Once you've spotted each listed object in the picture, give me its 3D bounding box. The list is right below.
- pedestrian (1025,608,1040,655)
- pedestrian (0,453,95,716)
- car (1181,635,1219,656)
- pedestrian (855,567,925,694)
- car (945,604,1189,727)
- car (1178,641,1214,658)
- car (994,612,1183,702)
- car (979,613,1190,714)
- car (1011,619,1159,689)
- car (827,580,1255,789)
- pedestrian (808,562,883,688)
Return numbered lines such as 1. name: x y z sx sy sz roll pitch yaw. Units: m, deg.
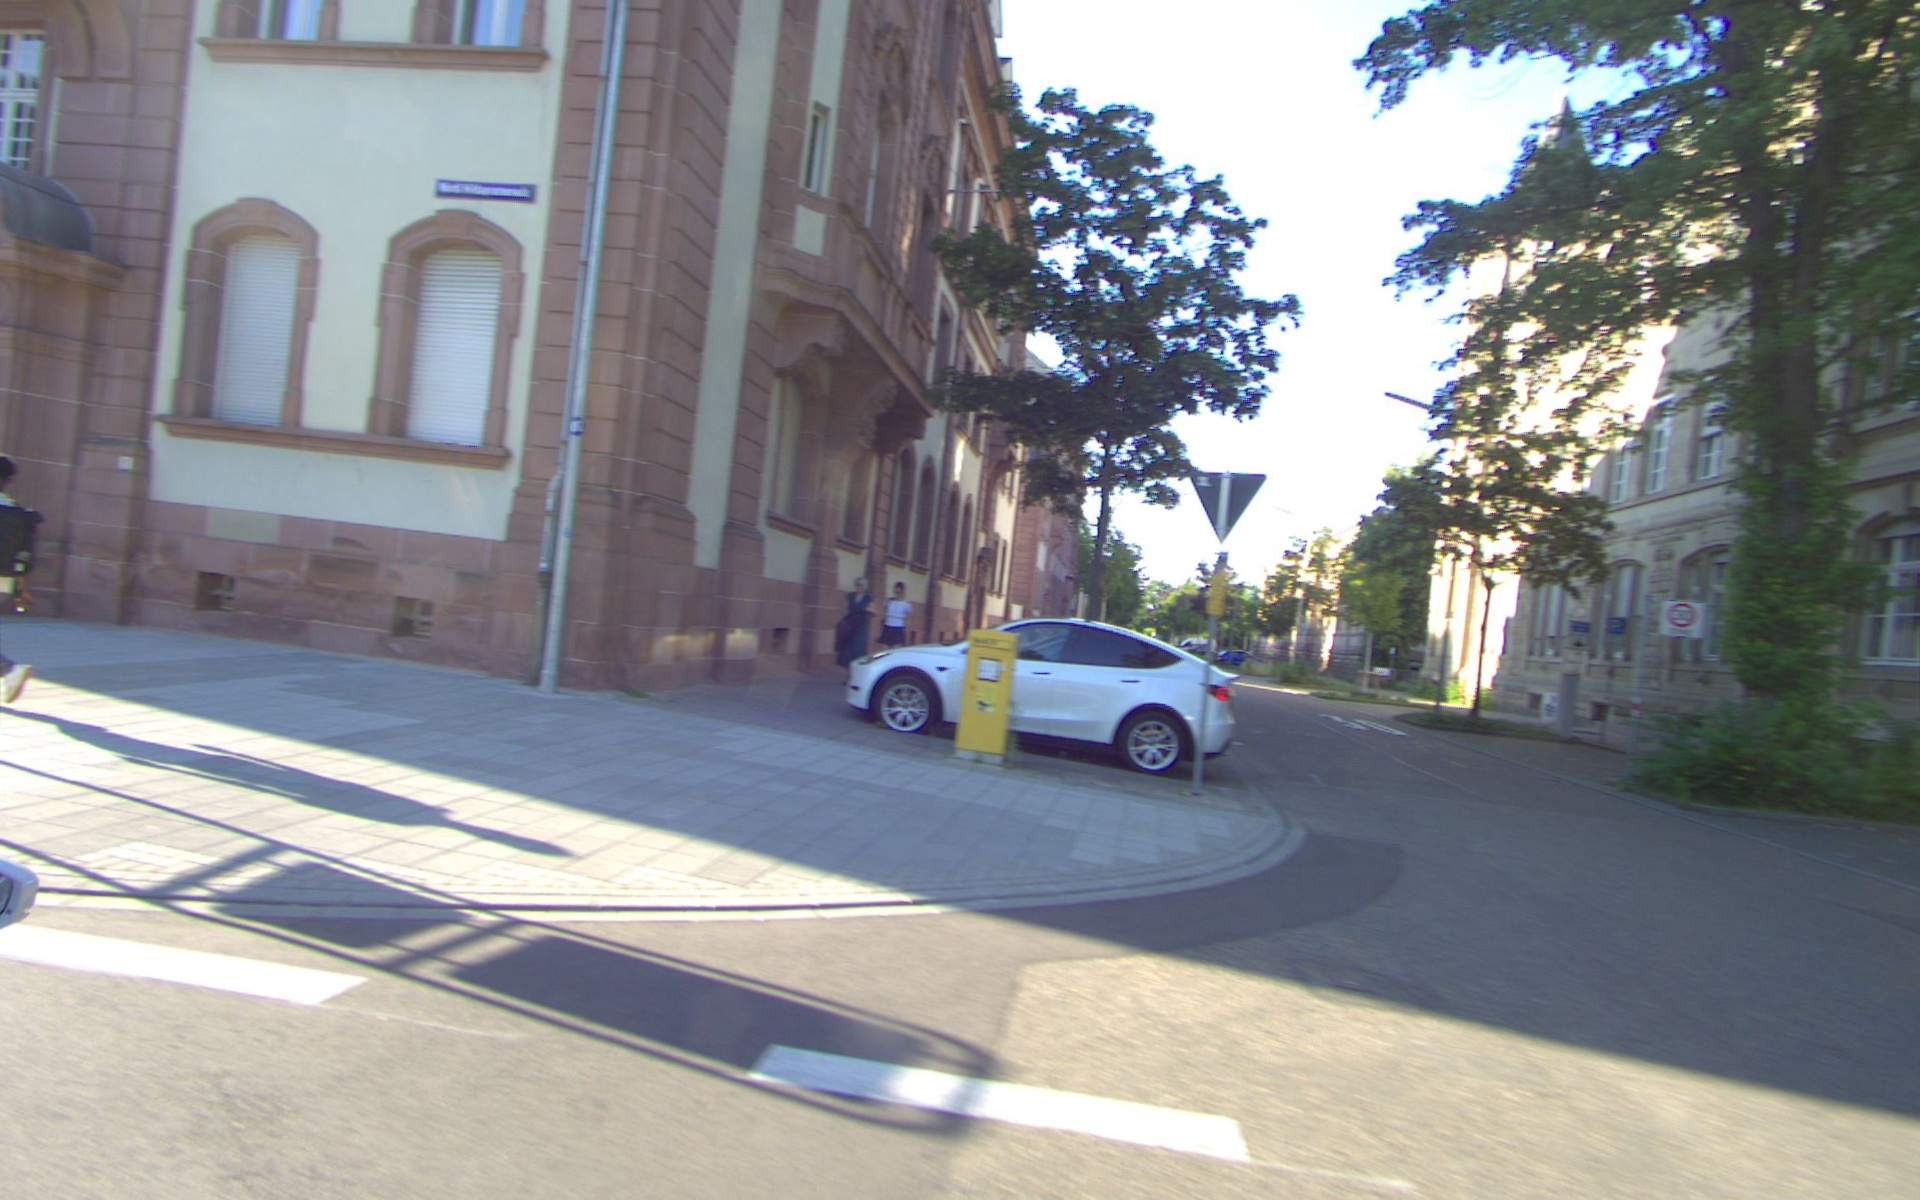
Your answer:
1. pedestrian: 3.231 1.421 44.740 0.428 2.038 0.464 6 0 10
2. pedestrian: -6.744 -0.148 6.994 0.984 1.742 0.533 7 3 10
3. car: 32.145 6.066 134.593 4.630 2.129 2.001 7 0 10
4. pedestrian: -1.090 0.483 15.789 0.712 1.862 0.613 8 1 12
5. car: 2.062 1.234 19.624 4.310 1.604 1.968 9 0 6
6. car: 28.053 5.874 119.583 3.923 1.638 1.789 7 0 9
7. car: 3.147 1.376 24.988 4.310 1.514 1.968 8 0 6
8. car: 2.732 1.361 22.424 4.310 1.514 1.968 8 0 6
9. car: 3.894 1.662 31.648 4.310 1.514 1.968 8 0 6
10. car: 0.963 0.955 12.308 4.633 1.608 1.968 9 0 6
11. pedestrian: -1.810 0.395 15.974 0.775 1.863 0.717 8 1 12
